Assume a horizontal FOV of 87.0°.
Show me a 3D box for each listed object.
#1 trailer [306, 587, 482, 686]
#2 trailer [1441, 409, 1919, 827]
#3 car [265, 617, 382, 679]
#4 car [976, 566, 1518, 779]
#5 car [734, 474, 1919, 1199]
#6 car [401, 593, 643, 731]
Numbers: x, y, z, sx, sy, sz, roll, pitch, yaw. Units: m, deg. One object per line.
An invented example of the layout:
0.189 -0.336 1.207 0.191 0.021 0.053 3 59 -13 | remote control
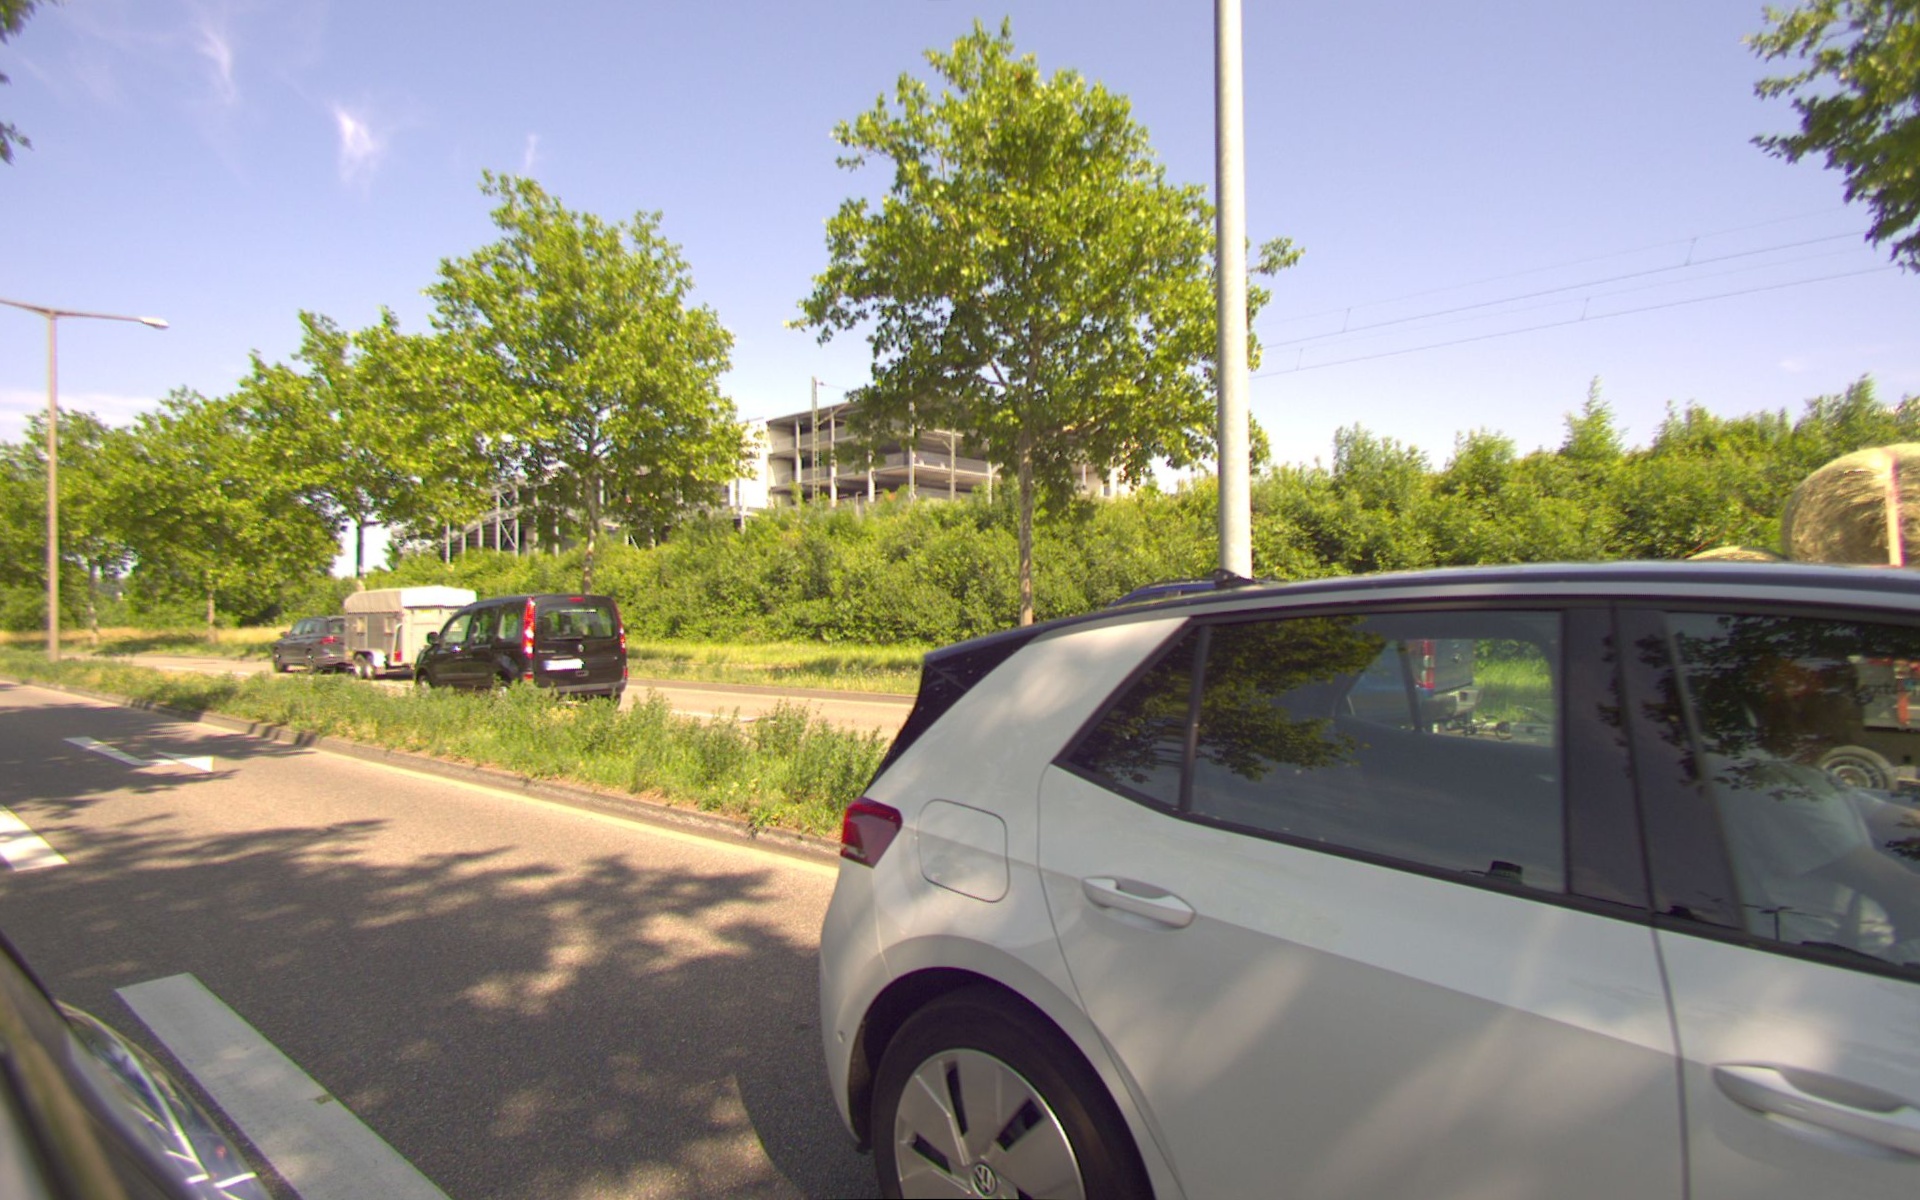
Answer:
-14.670 0.891 26.085 5.536 2.282 2.285 -1 -1 42 | trailer
6.549 0.113 7.757 4.825 2.764 1.861 -1 0 40 | trailer
-18.343 1.320 29.105 4.359 1.634 1.697 -1 -1 42 | car
2.822 0.635 10.932 5.371 1.803 1.747 -1 0 40 | car
1.630 0.630 1.733 4.206 1.533 1.800 -2 -1 41 | car
-6.854 0.862 15.648 4.229 1.823 1.713 -1 0 40 | car
